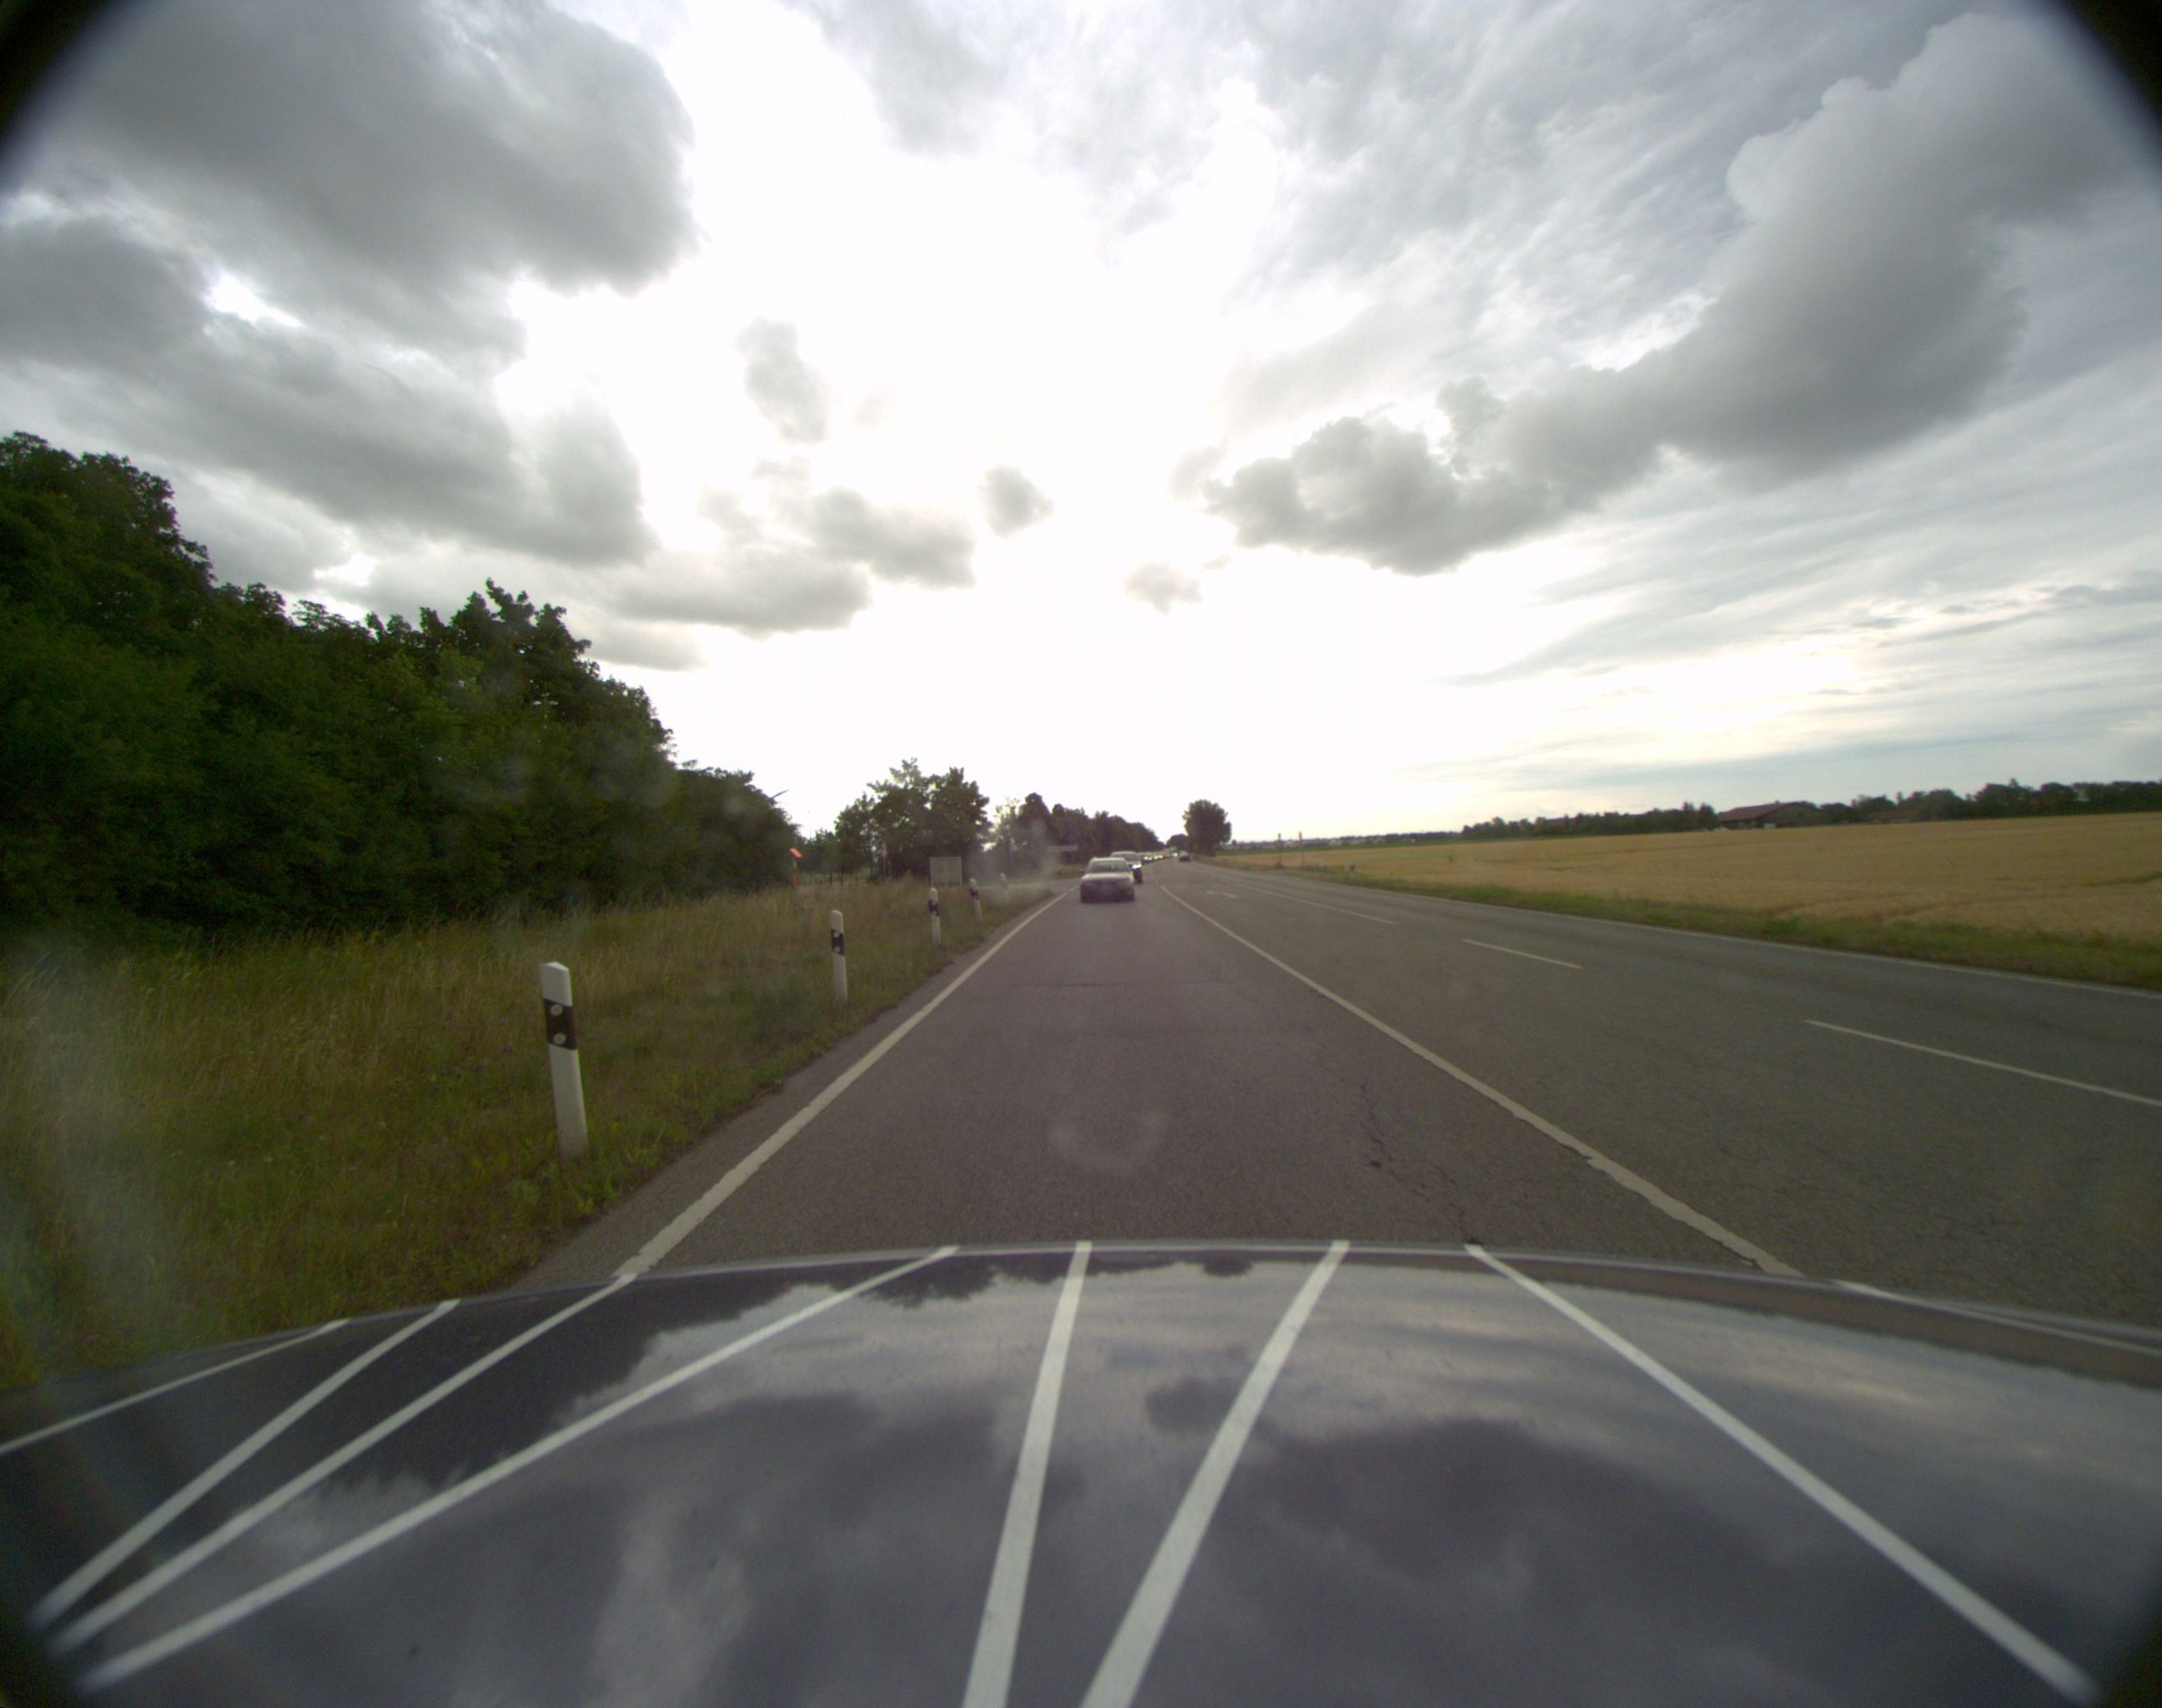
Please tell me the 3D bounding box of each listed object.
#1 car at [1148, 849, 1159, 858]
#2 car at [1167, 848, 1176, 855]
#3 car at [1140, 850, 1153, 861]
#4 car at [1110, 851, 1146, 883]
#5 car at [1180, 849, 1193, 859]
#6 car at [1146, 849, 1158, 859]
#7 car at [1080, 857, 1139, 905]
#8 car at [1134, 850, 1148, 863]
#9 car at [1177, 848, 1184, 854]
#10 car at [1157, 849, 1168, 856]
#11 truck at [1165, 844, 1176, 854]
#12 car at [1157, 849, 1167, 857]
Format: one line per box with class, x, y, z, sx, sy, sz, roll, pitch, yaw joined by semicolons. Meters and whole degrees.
car;14.171;-0.103;147.943;1.793;1.573;4.139;-2;0;8
car;23.387;-0.637;196.616;1.792;1.531;4.140;-2;0;13
car;9.706;0.220;111.967;1.793;1.573;4.189;-2;0;7
car;2.529;0.664;41.278;1.793;1.573;4.368;-2;0;3
car;16.779;0.050;120.569;1.830;1.402;4.427;-4;0;9
car;12.014;0.049;128.807;1.793;1.573;4.189;-2;0;7
car;0.992;0.852;25.816;1.793;1.415;4.368;-2;0;3
car;8.027;0.318;101.479;1.793;1.573;4.369;-2;0;6
car;28.275;-0.891;216.019;1.950;1.684;4.449;-2;0;9
car;17.936;-0.323;167.919;1.953;1.573;4.140;-2;0;12
truck;25.864;-1.590;220.508;2.318;2.749;7.679;-2;0;12
car;17.128;-0.296;160.419;1.792;1.573;4.140;-2;0;11
